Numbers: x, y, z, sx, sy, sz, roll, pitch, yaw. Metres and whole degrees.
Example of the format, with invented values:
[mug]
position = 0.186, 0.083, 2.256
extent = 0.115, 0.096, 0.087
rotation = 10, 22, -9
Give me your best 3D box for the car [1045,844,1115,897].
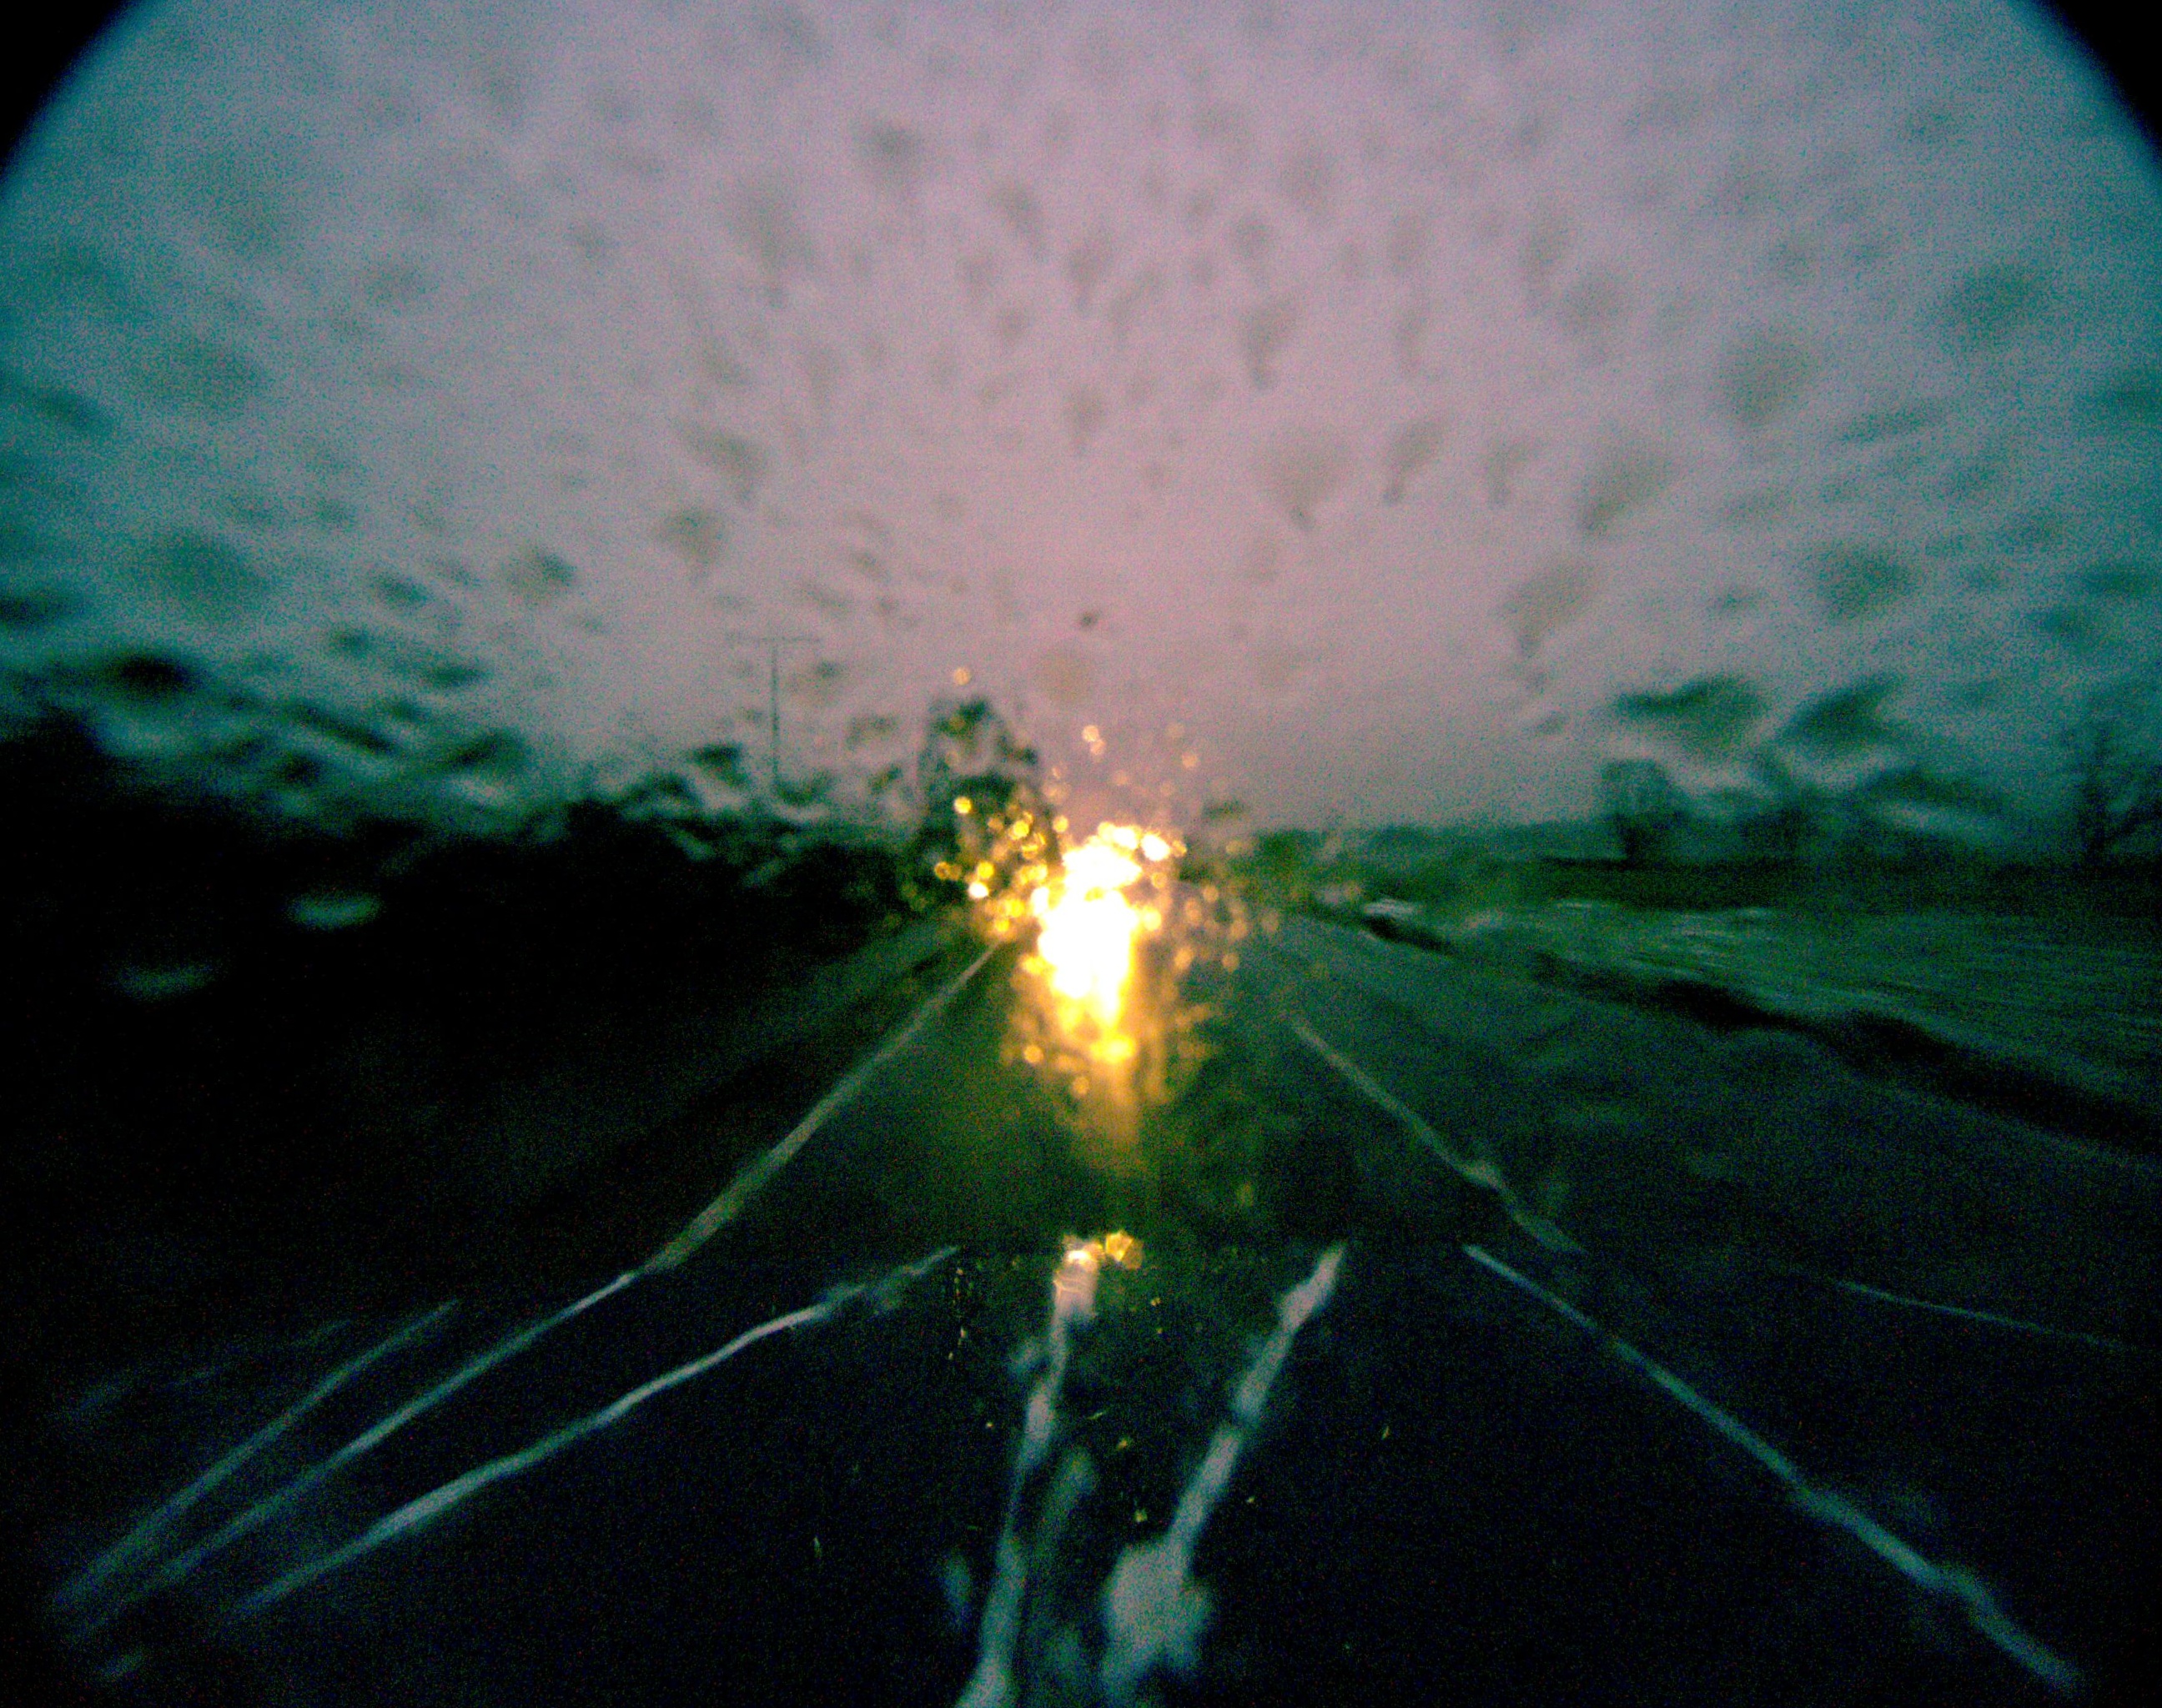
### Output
[car]
position = 0.043, 0.627, 33.128
extent = 2.704, 1.974, 5.804
rotation = -2, 1, 2
